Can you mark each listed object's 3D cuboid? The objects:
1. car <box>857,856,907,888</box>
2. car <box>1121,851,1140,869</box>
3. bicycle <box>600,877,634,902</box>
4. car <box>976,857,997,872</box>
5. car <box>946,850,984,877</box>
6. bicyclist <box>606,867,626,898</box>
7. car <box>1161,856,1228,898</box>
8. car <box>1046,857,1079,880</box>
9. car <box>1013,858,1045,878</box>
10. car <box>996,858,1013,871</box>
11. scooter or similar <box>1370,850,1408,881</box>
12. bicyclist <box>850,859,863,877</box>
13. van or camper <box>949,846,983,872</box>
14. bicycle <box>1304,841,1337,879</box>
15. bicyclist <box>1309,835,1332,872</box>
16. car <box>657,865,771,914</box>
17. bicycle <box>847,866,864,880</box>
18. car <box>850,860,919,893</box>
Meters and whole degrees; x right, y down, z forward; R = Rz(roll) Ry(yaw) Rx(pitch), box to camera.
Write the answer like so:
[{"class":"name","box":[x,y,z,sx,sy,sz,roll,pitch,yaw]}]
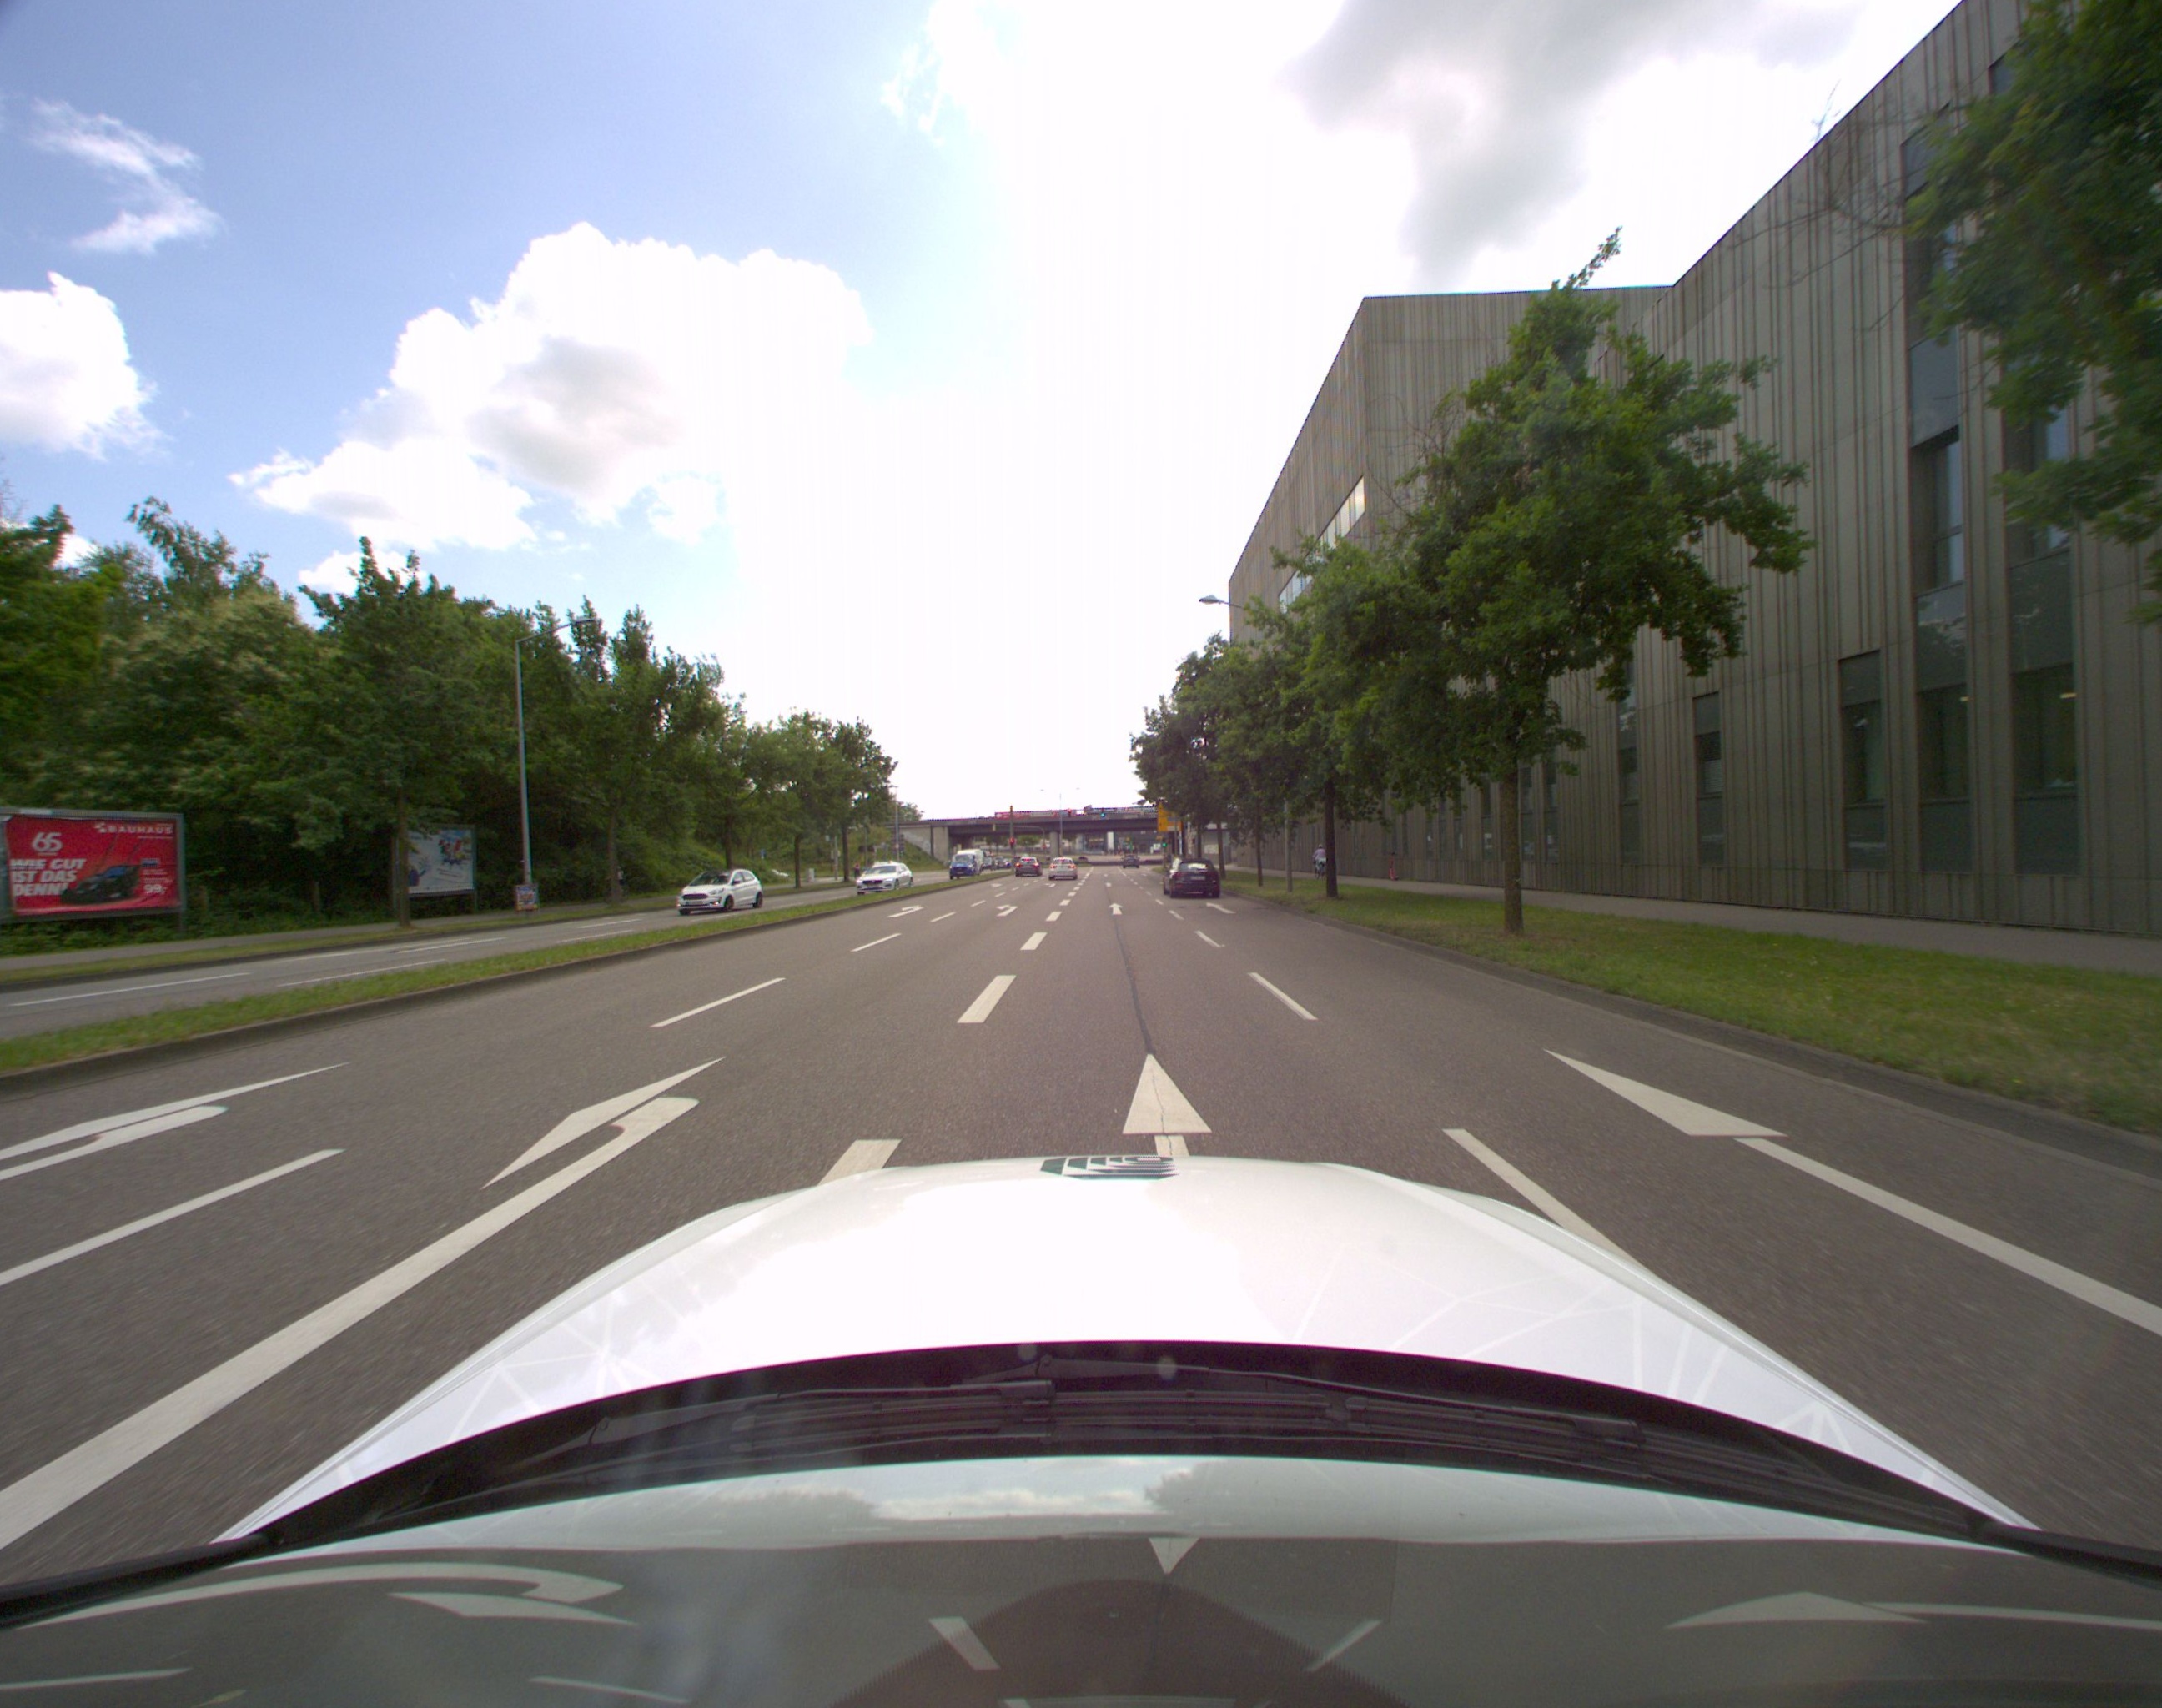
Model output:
[{"class":"car","box":[-12.512,1.092,51.479,1.987,1.801,4.409,-2,0,0]},{"class":"car","box":[5.670,0.695,94.393,1.986,2.037,4.715,-2,0,2]},{"class":"bicycle","box":[-21.780,1.642,38.237,0.508,1.106,1.844,0,-1,0]},{"class":"car","box":[-11.425,1.263,98.742,1.987,1.766,4.220,-2,0,1]},{"class":"car","box":[-9.259,0.720,65.211,2.183,1.964,5.193,-2,0,0]},{"class":"bicyclist","box":[-21.778,1.331,38.144,0.492,1.464,0.713,0,-1,-1]},{"class":"car","box":[4.146,0.790,30.532,1.986,1.390,4.577,0,1,1]},{"class":"car","box":[-1.175,0.927,53.238,1.908,1.415,4.297,1,0,1]},{"class":"car","box":[-3.912,1.041,62.060,1.986,1.415,4.833,0,0,1]},{"class":"car","box":[-10.348,1.414,110.798,1.799,1.632,4.393,-2,0,1]},{"class":"scooter or similar","box":[13.122,0.473,34.752,0.702,1.246,2.480,-3,0,2]},{"class":"bicyclist","box":[-20.980,1.303,76.225,0.889,1.747,0.998,0,-1,2]},{"class":"van or camper","box":[-11.535,0.494,81.932,2.344,2.540,7.064,-1,0,0]},{"class":"bicycle","box":[11.668,0.273,39.691,0.718,1.774,2.531,-2,0,-2]},{"class":"bicyclist","box":[11.657,-0.011,39.658,0.713,1.769,0.988,-2,0,-2]},{"class":"car","box":[-12.910,1.188,28.970,1.908,1.443,4.415,-4,0,0]},{"class":"bicycle","box":[-21.066,1.760,76.176,0.818,1.270,2.395,0,0,3]},{"class":"car","box":[-9.601,1.083,40.233,1.986,1.431,5.026,-2,0,2]}]
